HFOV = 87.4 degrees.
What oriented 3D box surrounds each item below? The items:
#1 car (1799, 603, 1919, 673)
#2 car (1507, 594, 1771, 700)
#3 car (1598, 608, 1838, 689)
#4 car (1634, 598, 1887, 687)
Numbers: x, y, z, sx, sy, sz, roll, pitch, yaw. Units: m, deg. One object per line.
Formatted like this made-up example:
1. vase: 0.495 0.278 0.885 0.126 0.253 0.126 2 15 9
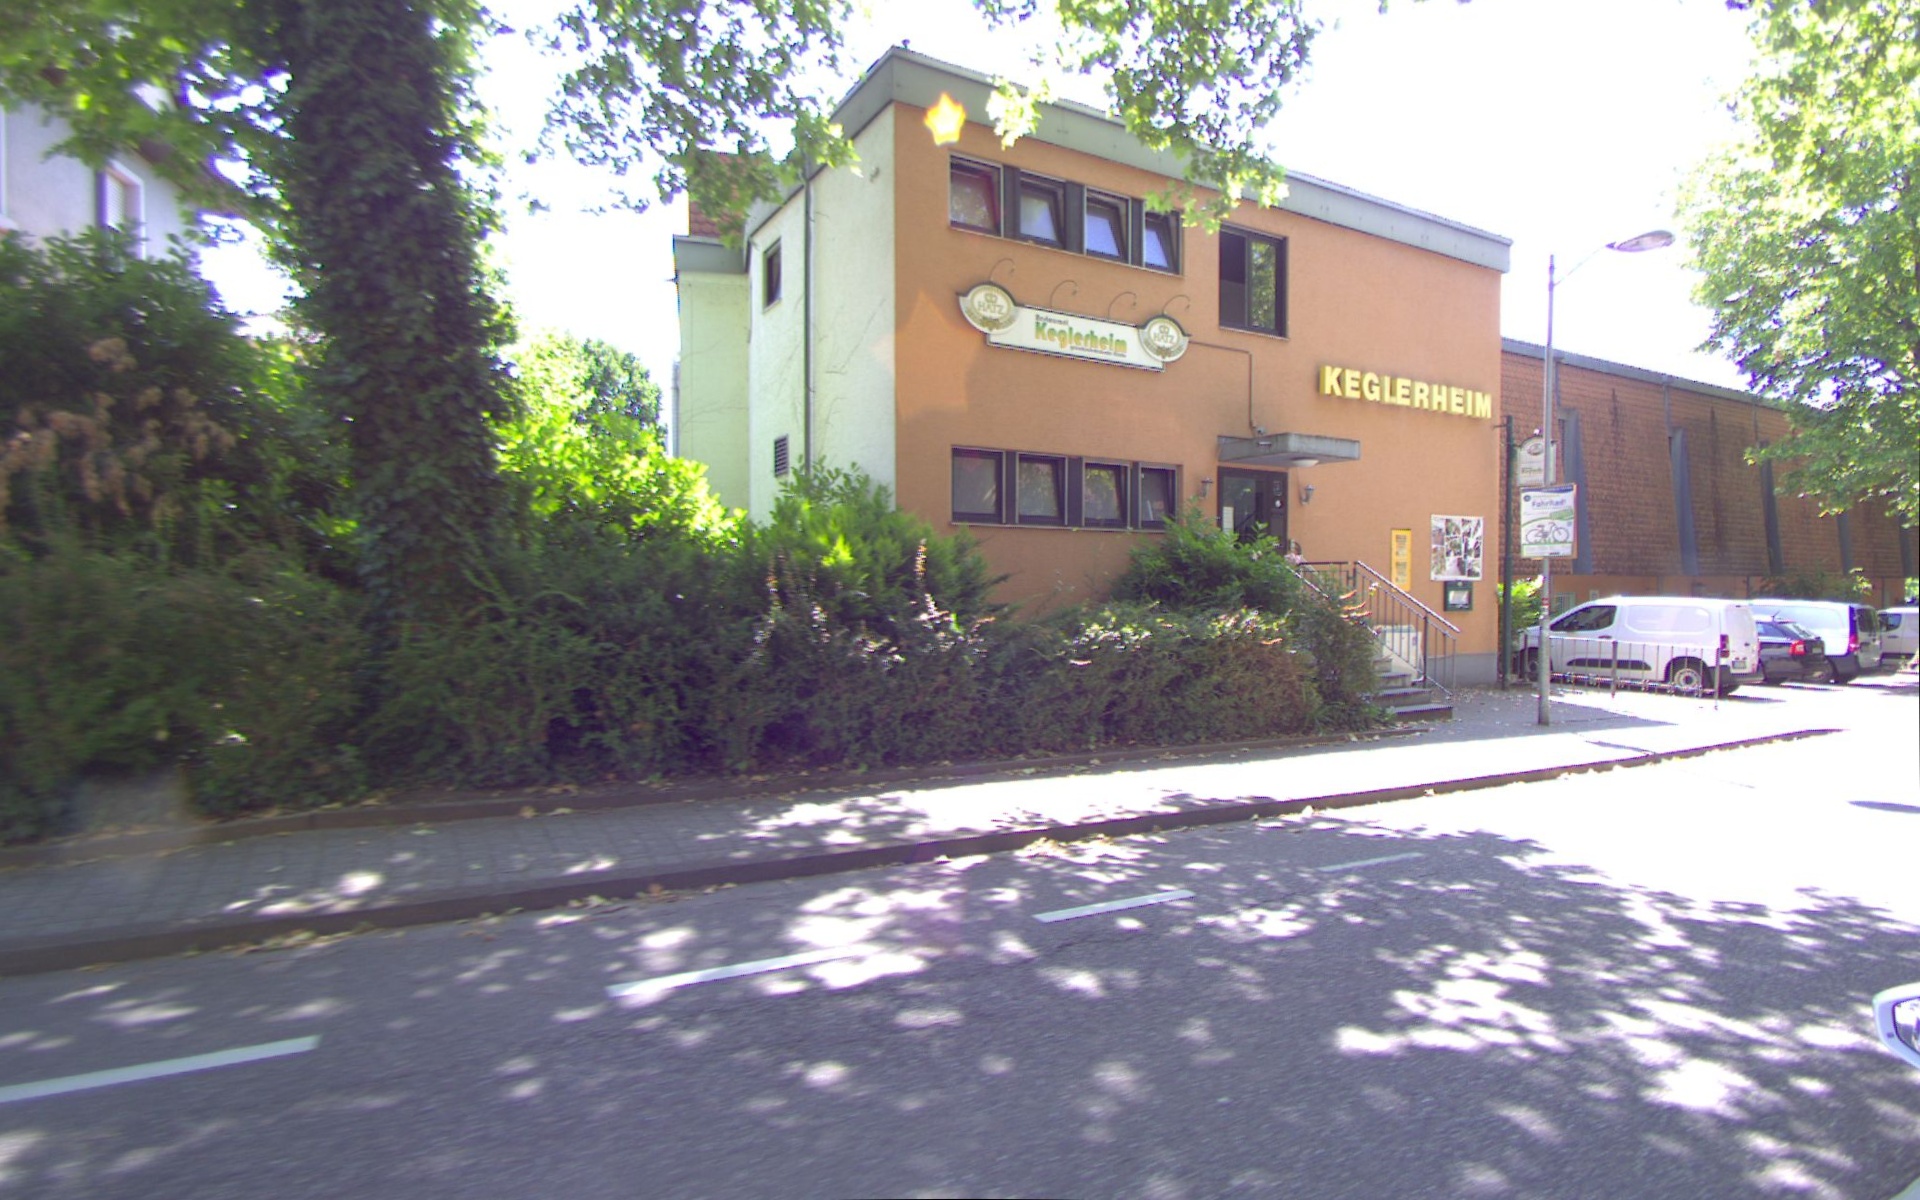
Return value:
1. car: 26.353 1.067 28.055 1.883 1.828 4.103 1 1 -33
2. car: 13.501 0.847 20.203 1.849 1.817 3.962 1 1 -33
3. car: 17.129 1.039 22.881 1.849 1.535 3.962 1 1 -33
4. car: 19.196 0.937 24.305 1.883 1.828 4.396 1 1 -33
